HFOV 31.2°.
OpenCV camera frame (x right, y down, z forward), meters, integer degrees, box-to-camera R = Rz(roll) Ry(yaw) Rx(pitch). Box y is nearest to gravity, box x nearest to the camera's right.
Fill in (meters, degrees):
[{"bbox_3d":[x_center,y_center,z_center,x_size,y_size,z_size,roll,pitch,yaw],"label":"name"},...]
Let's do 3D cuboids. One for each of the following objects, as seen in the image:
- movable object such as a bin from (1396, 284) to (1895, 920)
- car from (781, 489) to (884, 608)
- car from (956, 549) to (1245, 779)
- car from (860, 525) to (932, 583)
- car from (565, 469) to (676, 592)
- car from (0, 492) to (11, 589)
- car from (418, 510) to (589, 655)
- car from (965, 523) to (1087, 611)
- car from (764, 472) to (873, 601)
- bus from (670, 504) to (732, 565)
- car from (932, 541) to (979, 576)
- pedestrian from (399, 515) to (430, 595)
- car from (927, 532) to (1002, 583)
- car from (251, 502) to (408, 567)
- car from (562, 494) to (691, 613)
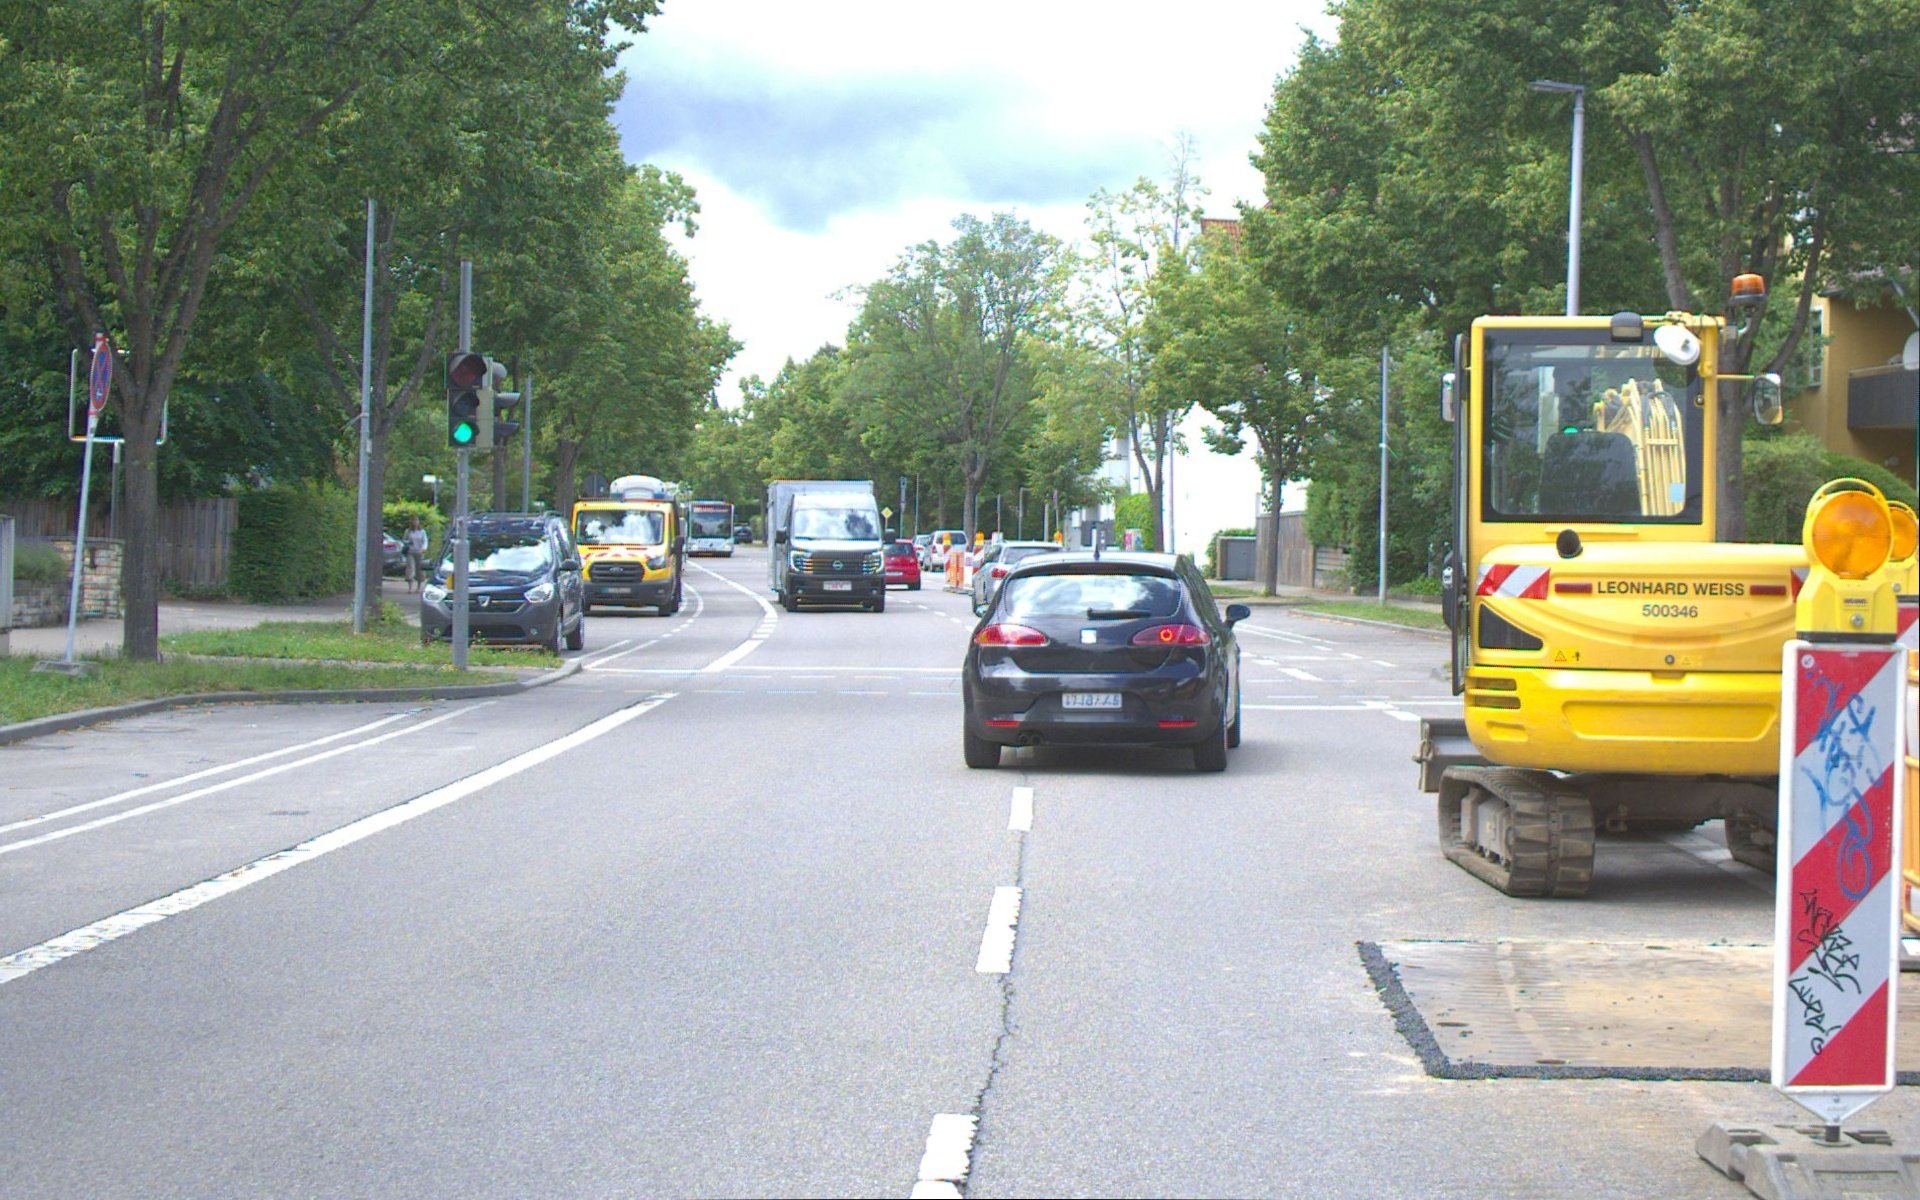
[{"bbox_3d":[3.029,-0.033,15.903,1.768,2.565,3.739,1,1,4],"label":"movable object such as a bin"},{"bbox_3d":[-2.599,-1.079,71.295,2.029,2.376,5.262,0,1,-1],"label":"car"},{"bbox_3d":[1.025,0.374,23.607,1.819,1.433,3.739,0,1,4],"label":"car"},{"bbox_3d":[-1.861,-1.332,98.384,1.790,1.617,3.740,0,1,-5],"label":"car"},{"bbox_3d":[-7.504,-1.542,76.460,2.092,2.617,5.045,1,1,-2],"label":"car"},{"bbox_3d":[-19.440,-1.104,62.241,3.988,1.763,1.745,1,1,6],"label":"car"},{"bbox_3d":[-5.793,-0.259,44.058,1.667,1.766,4.468,0,1,-1],"label":"car"},{"bbox_3d":[1.269,-0.666,67.840,1.905,1.680,3.741,0,1,-7],"label":"car"},{"bbox_3d":[-3.136,-1.435,77.486,2.287,2.782,7.144,0,1,-1],"label":"car"},{"bbox_3d":[-9.269,-2.362,123.525,1.993,2.116,7.360,1,1,-3],"label":"bus"},{"bbox_3d":[-0.179,-1.695,139.836,1.810,1.410,3.693,1,1,1],"label":"car"},{"bbox_3d":[-11.993,-0.991,75.629,0.595,1.735,0.574,1,1,-2],"label":"pedestrian"},{"bbox_3d":[0.120,-1.221,98.087,1.809,1.410,3.694,1,1,-5],"label":"car"},{"bbox_3d":[-15.979,-1.674,87.255,3.682,1.588,1.679,1,1,-1],"label":"car"},{"bbox_3d":[-6.334,-0.904,65.771,2.092,2.167,5.045,1,1,-2],"label":"car"}]
